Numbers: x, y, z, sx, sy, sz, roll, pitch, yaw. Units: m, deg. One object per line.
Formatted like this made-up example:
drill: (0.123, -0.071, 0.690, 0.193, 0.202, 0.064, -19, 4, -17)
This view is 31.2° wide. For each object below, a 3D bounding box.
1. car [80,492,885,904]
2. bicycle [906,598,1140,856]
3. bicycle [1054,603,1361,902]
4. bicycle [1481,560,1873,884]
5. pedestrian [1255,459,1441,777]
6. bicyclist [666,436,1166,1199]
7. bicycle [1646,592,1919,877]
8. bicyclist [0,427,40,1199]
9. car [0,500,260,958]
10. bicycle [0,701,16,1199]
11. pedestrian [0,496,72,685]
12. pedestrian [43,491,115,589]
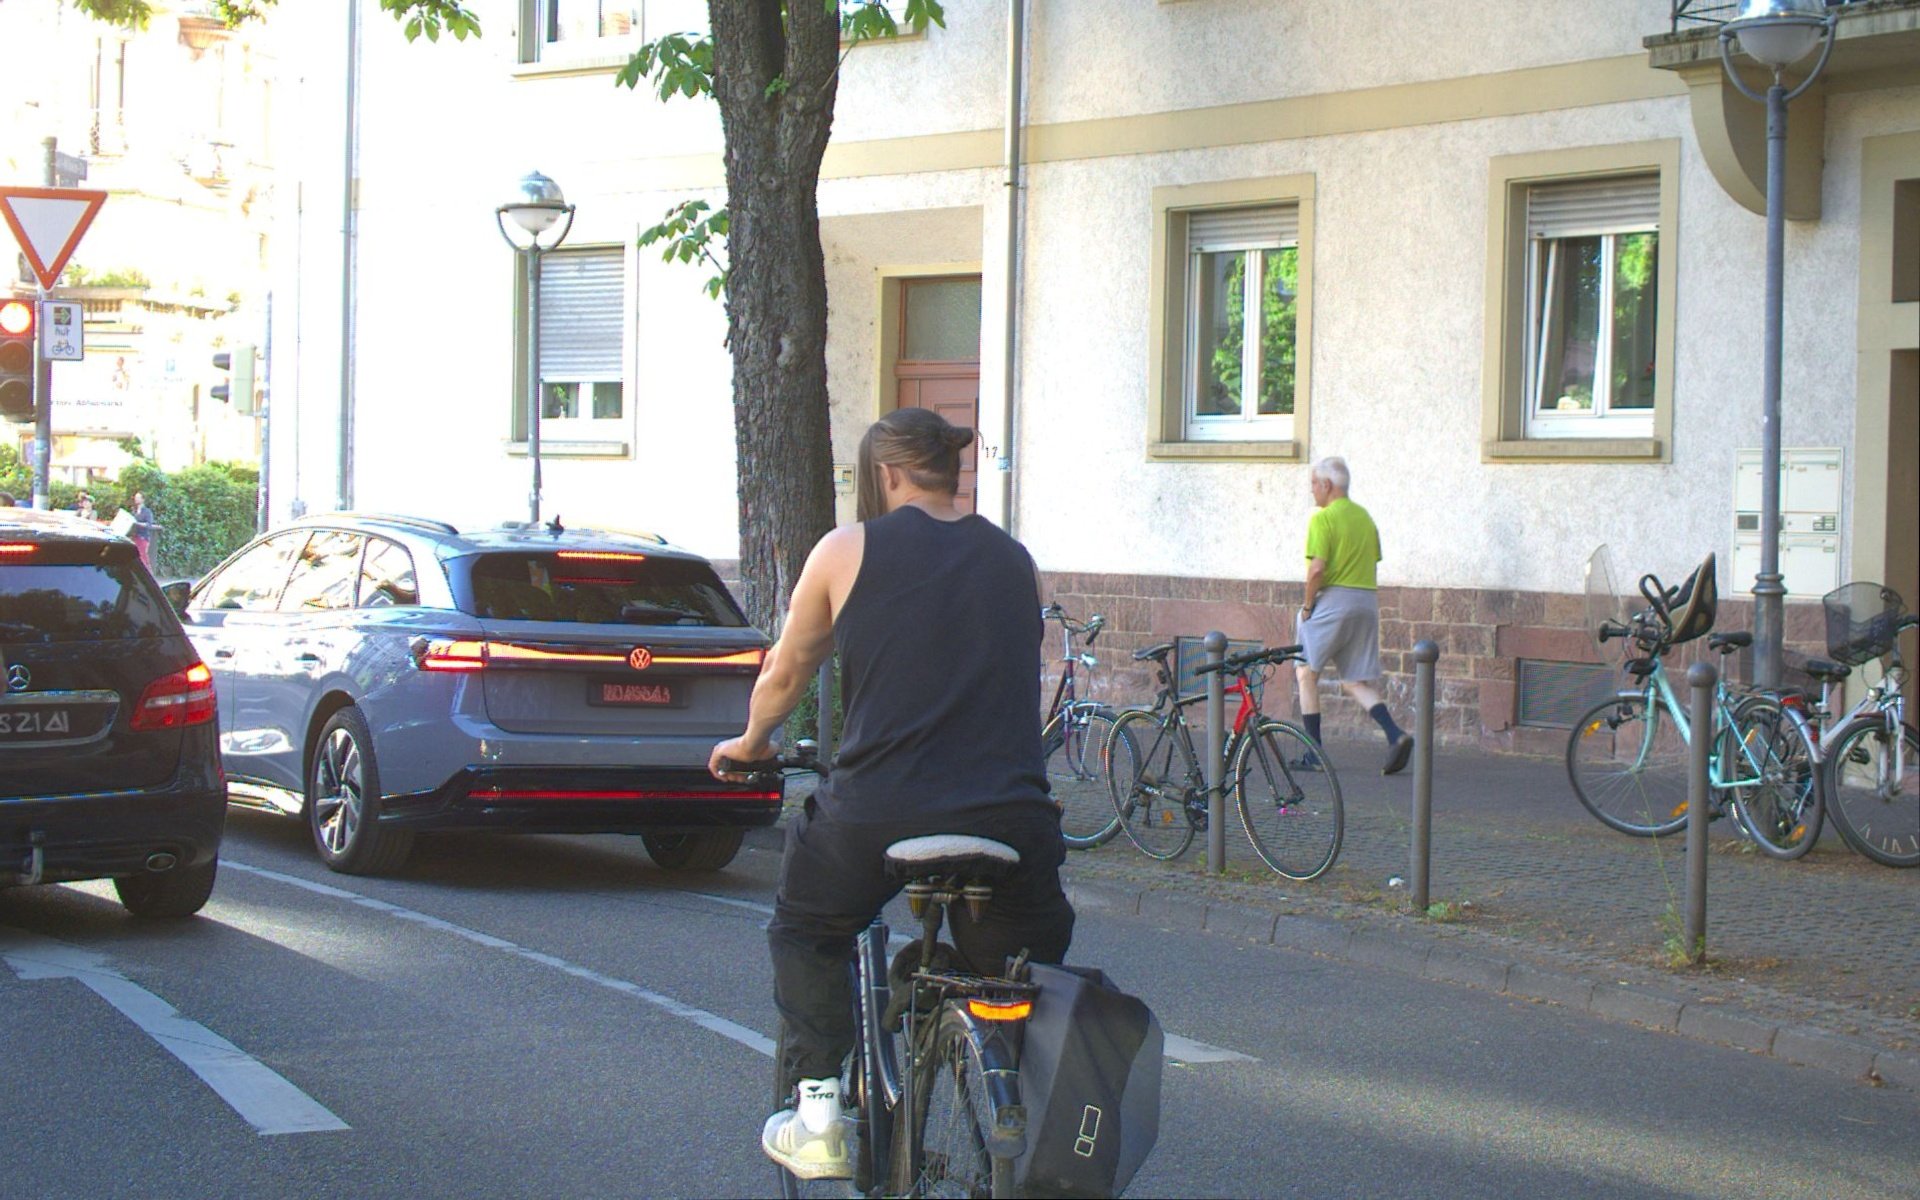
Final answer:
car: (-2.371, 0.369, 15.905, 1.970, 1.580, 4.475, 3, 0, -32)
bicycle: (0.274, 0.563, 16.128, 0.480, 1.060, 1.636, -2, 3, -22)
bicycle: (1.019, 0.609, 14.557, 0.526, 1.103, 1.741, -2, 3, -24)
bicycle: (3.085, 0.485, 15.011, 0.717, 1.273, 1.967, -1, 2, -21)
pedestrian: (2.169, 0.075, 19.256, 0.643, 1.721, 0.888, -2, 3, -27)
bicyclist: (-0.112, 0.535, 6.336, 0.686, 1.650, 0.990, 0, 2, -15)
bicycle: (3.826, 0.552, 15.043, 0.667, 1.103, 1.967, 1, 1, -20)
bicyclist: (-2.084, 0.464, 6.302, 0.706, 1.568, 0.957, 2, 1, -14)
car: (-4.301, 0.392, 13.261, 1.790, 1.536, 3.860, -2, 2, -34)
bicycle: (-2.176, 0.789, 6.383, 0.717, 1.103, 1.967, 2, 1, -13)
pedestrian: (-8.486, -0.102, 30.726, 0.901, 1.629, 0.726, 3, 2, -21)
pedestrian: (-15.457, -1.046, 60.329, 0.711, 1.659, 0.896, 6, 3, 34)
